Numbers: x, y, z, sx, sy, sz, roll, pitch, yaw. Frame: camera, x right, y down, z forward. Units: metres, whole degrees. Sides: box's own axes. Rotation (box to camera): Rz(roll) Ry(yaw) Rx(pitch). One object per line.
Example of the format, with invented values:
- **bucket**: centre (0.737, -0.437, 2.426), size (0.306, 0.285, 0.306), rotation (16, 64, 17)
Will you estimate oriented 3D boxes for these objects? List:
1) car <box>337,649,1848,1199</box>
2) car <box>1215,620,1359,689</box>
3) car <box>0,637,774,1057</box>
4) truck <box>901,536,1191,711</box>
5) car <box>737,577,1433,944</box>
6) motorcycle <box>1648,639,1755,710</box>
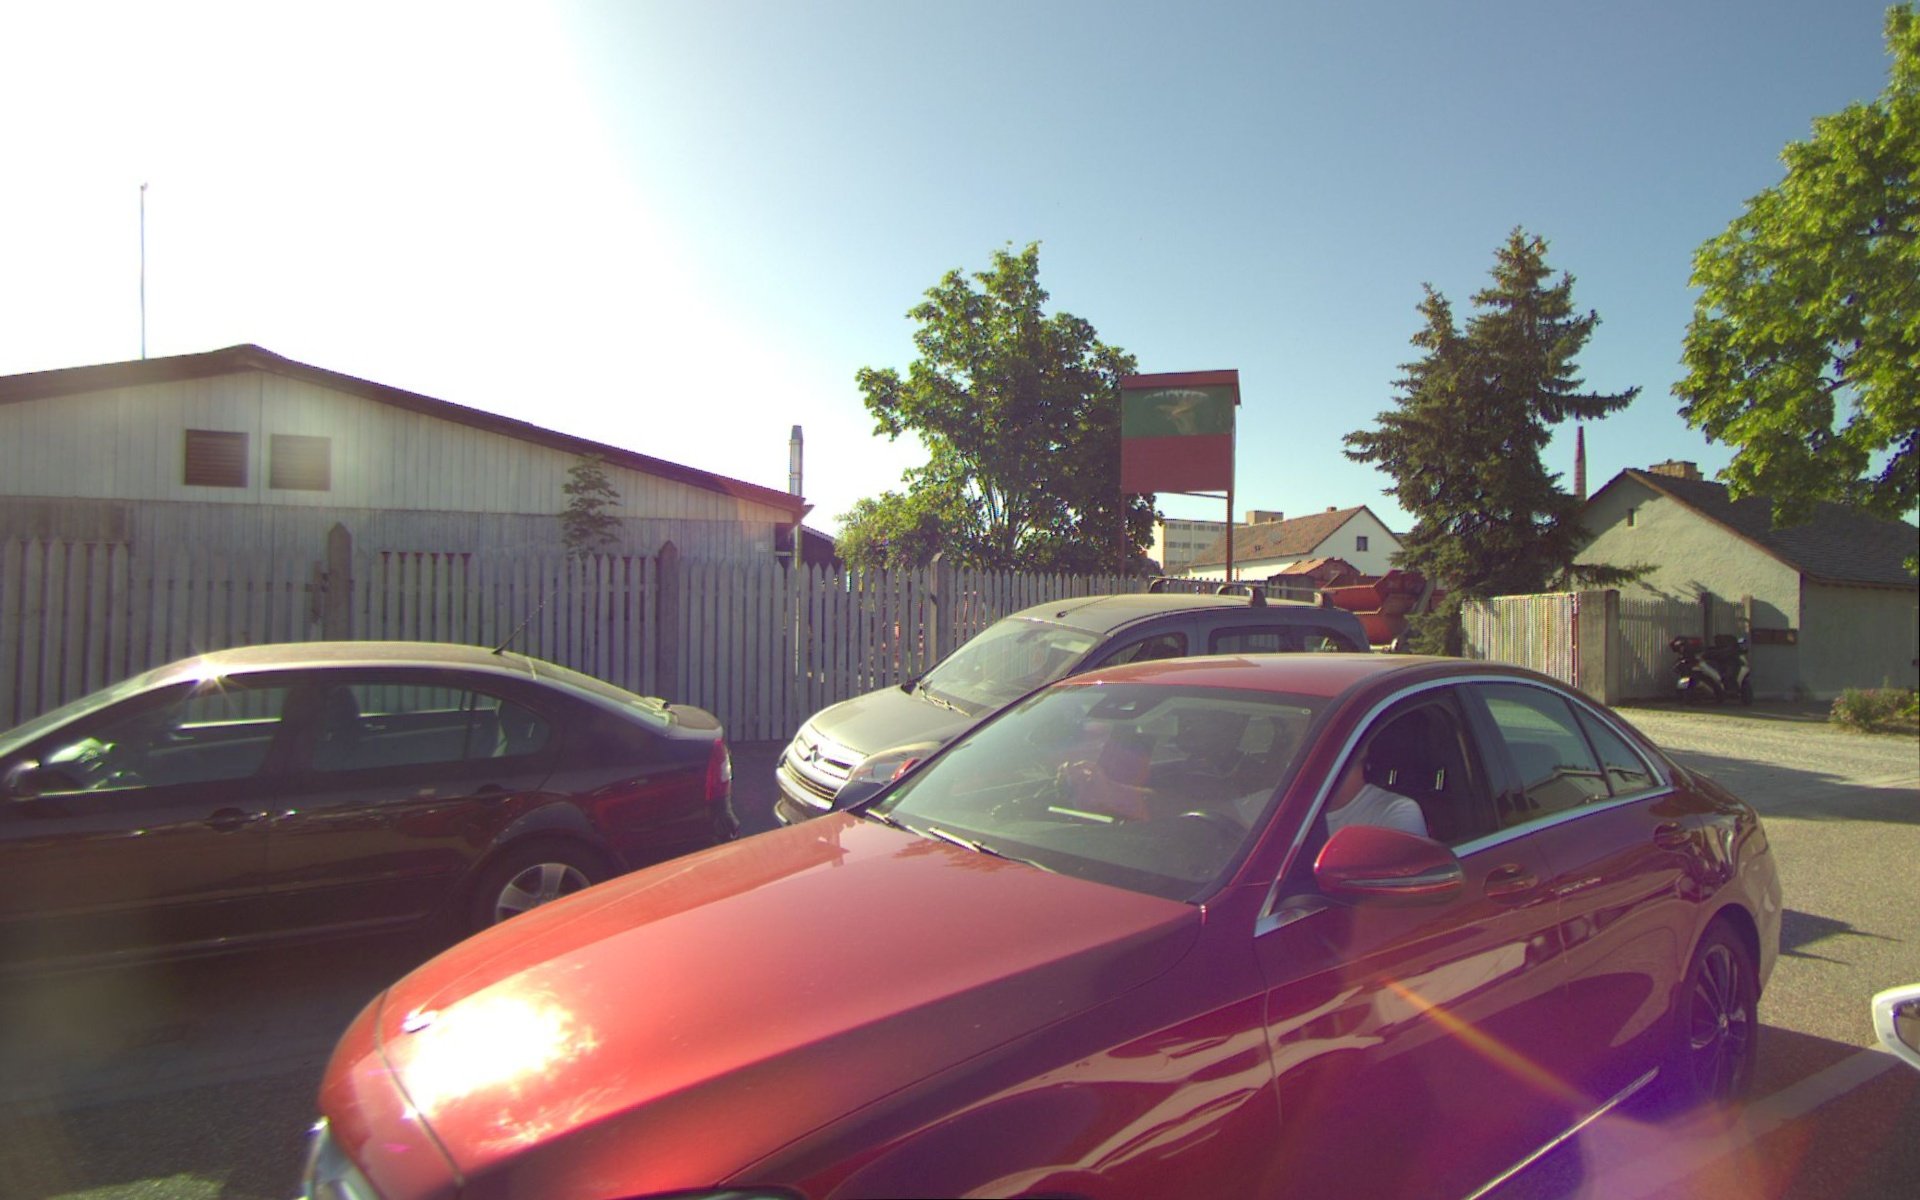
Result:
- **car**: centre (0.823, 0.893, 3.038), size (4.487, 1.439, 1.857), rotation (2, -3, -36)
- **car**: centre (9.989, 1.610, 31.062), size (1.887, 1.959, 4.456), rotation (1, -1, -20)
- **car**: centre (-3.376, 0.958, 4.829), size (4.560, 1.467, 1.767), rotation (1, 1, -30)
- **truck**: centre (1.662, 0.538, 23.314), size (2.871, 3.383, 7.370), rotation (2, -2, -32)
- **car**: centre (0.949, 0.852, 6.953), size (4.555, 1.874, 1.769), rotation (1, 1, -27)
- **motorcycle**: centre (14.202, 1.402, 19.217), size (2.509, 1.250, 0.696), rotation (1, 1, -31)
